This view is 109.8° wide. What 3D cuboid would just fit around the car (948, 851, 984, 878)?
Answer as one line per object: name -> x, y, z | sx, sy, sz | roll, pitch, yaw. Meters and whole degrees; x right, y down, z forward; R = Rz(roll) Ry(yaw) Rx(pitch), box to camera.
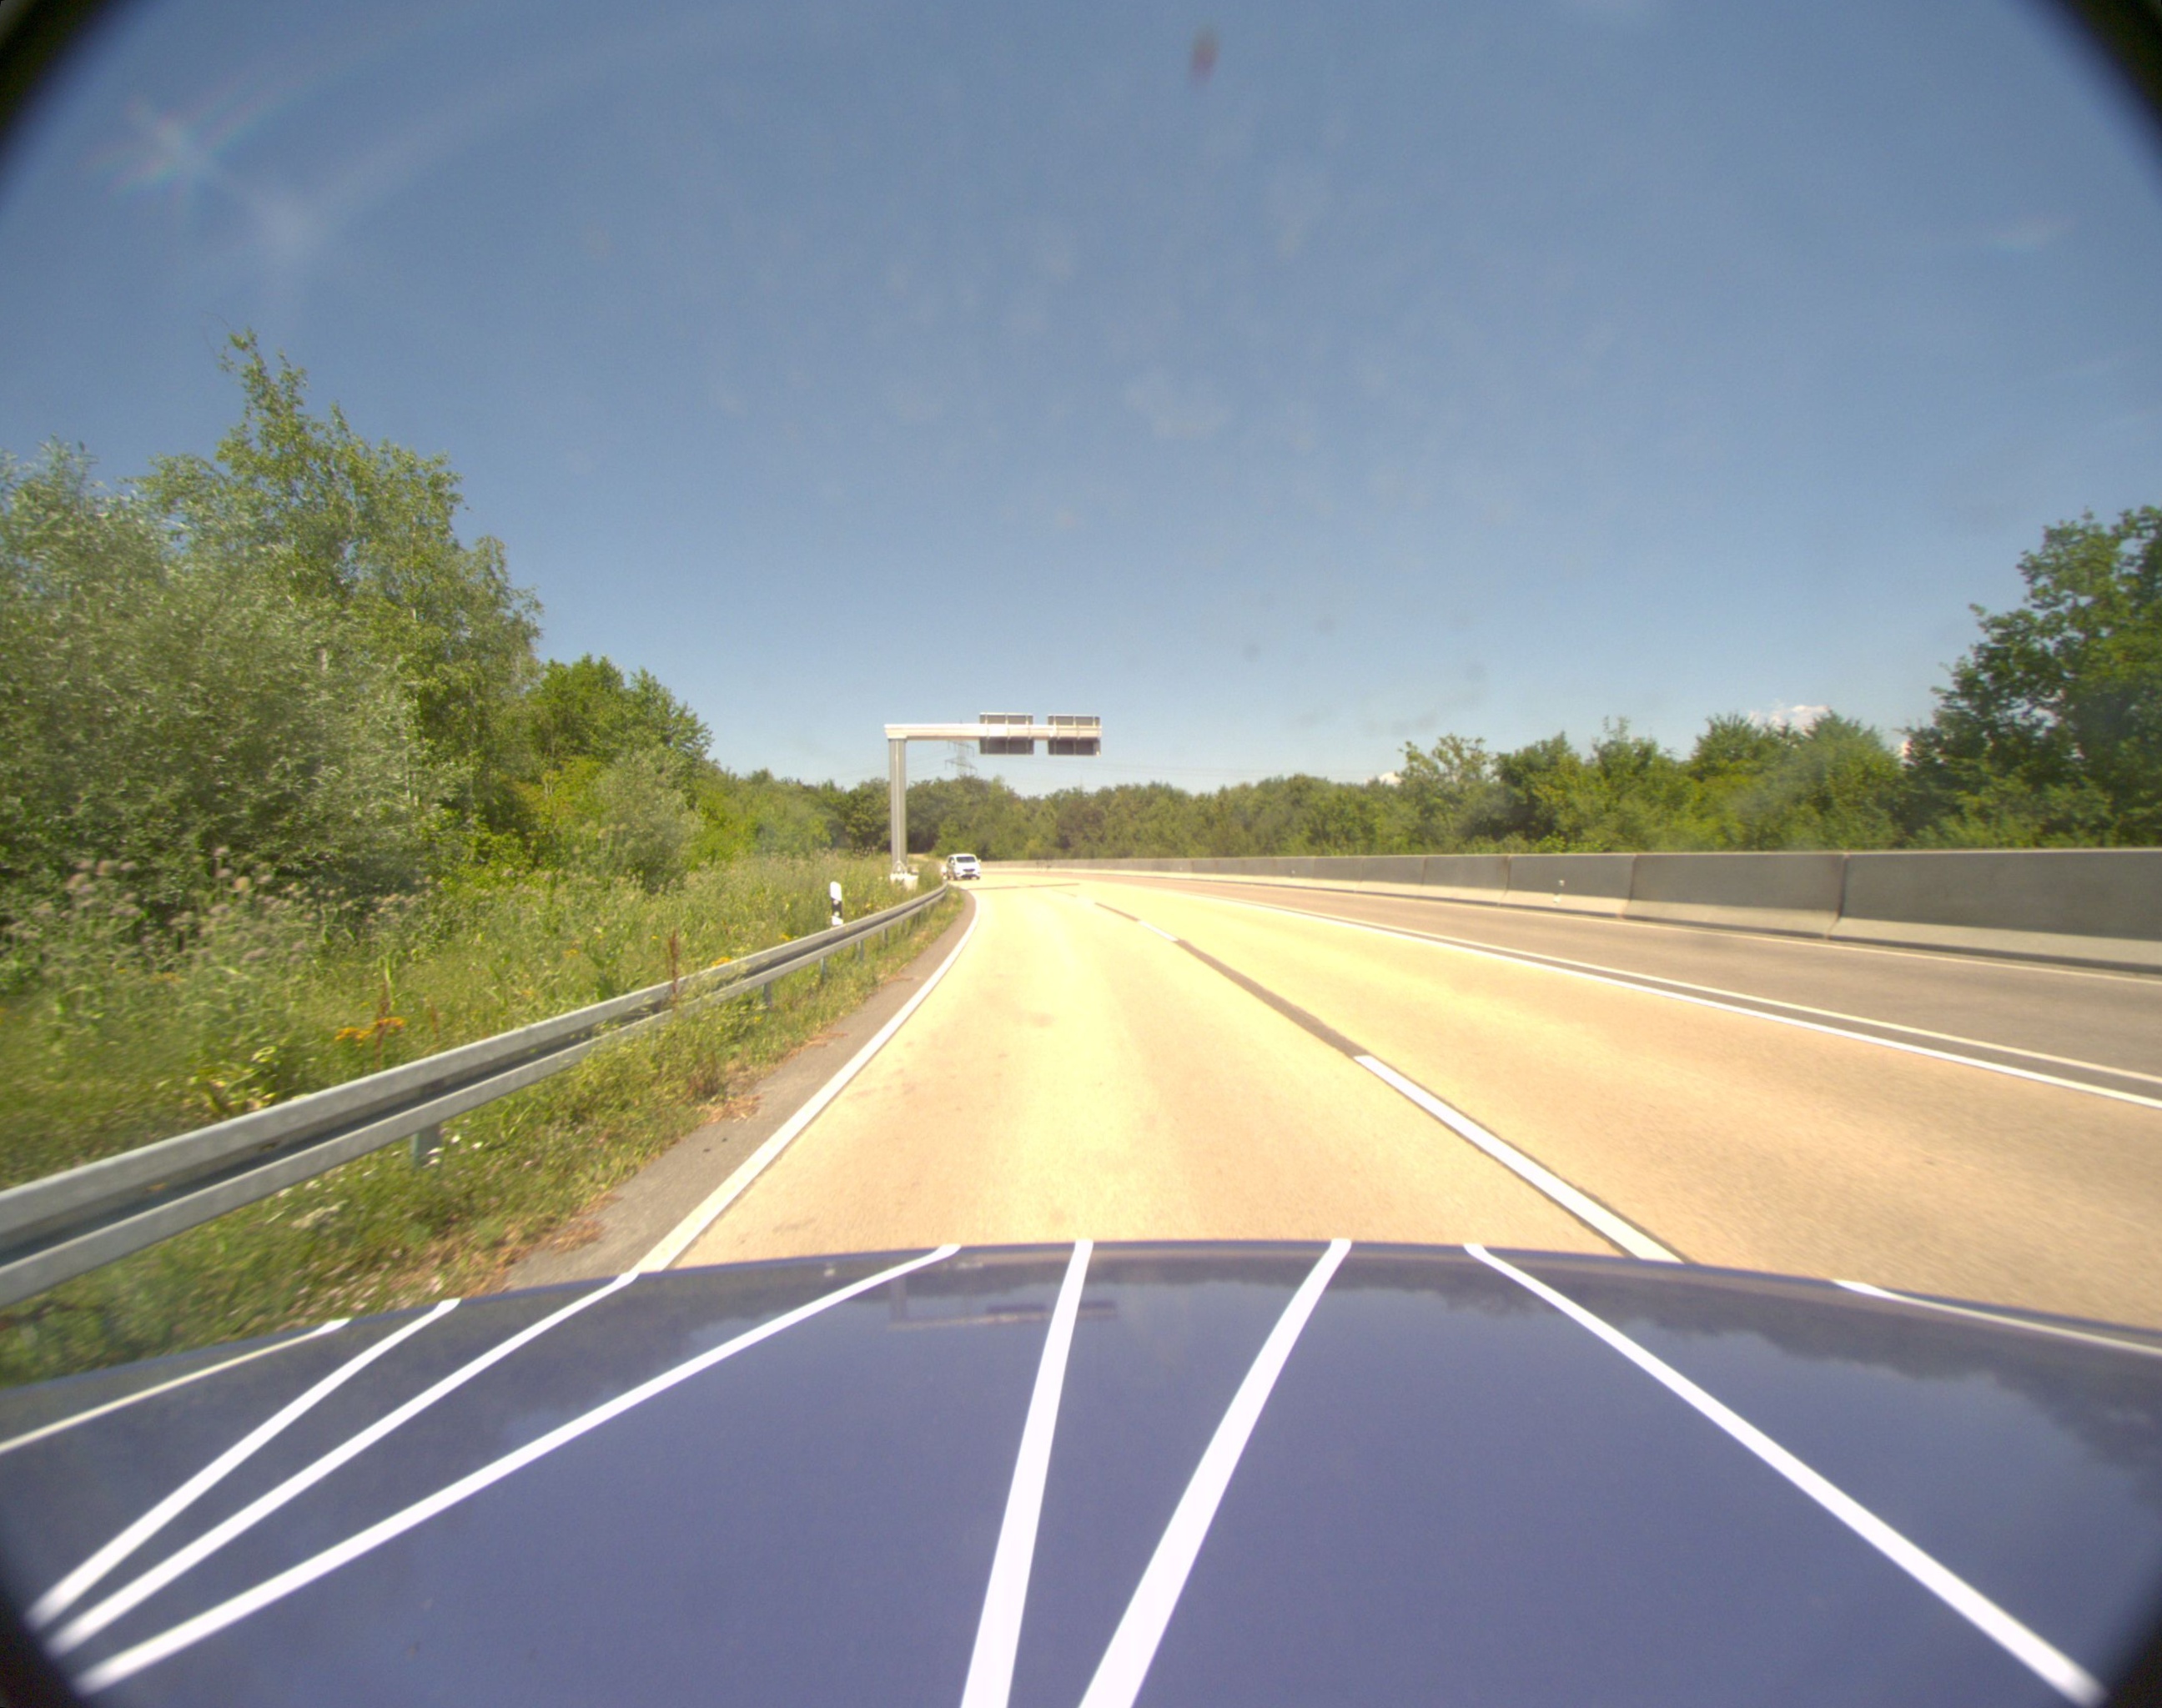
car -> -9.174, 0.819, 60.170 | 2.065, 2.002, 5.034 | -3, 0, -17
